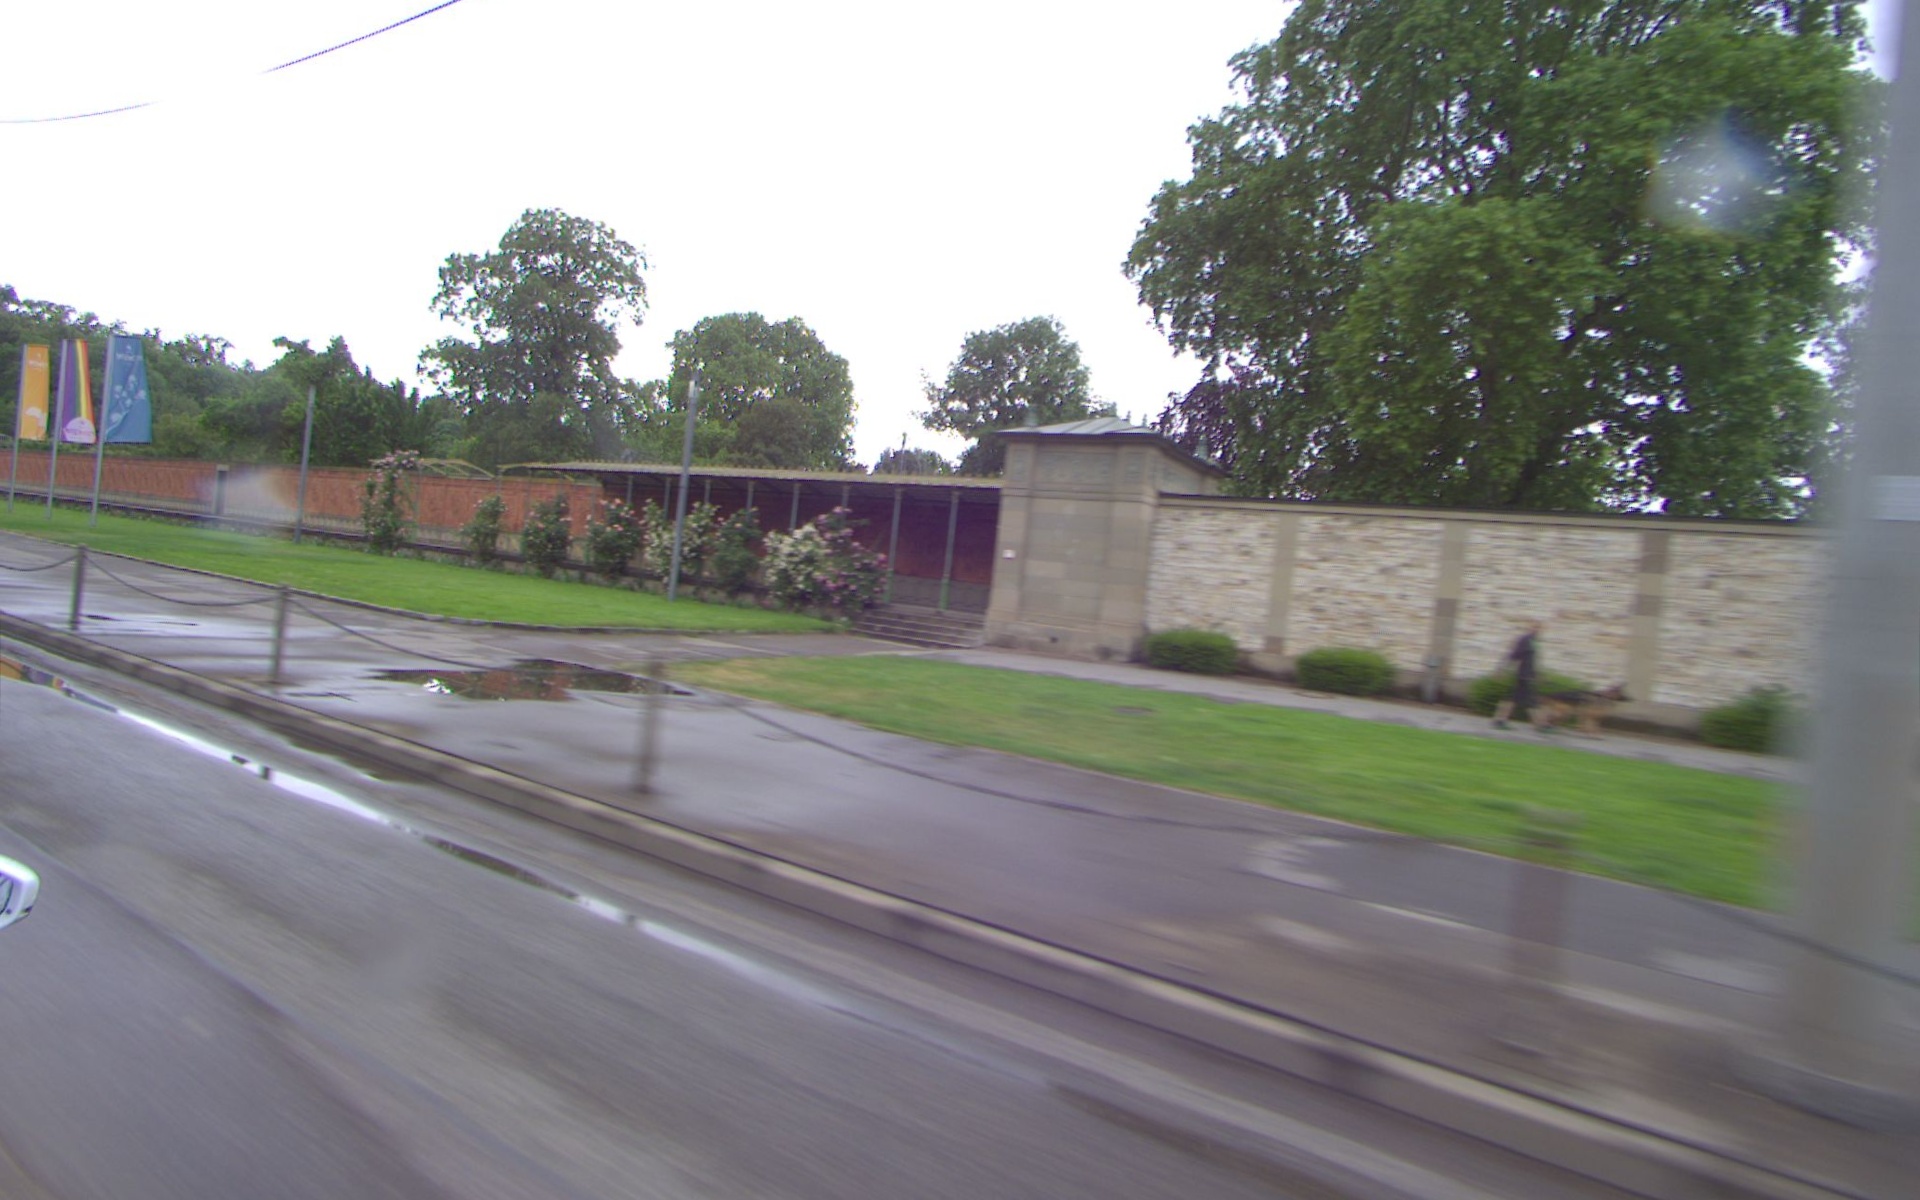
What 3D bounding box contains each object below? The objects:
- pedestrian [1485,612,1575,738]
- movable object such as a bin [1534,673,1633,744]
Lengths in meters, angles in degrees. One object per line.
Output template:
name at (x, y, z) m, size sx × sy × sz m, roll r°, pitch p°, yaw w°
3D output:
pedestrian at (8.494, 1.097, 14.987) m, size 0.965 × 1.733 × 0.728 m, roll 7°, pitch 1°, yaw 33°
movable object such as a bin at (9.343, 1.617, 15.094) m, size 1.172 × 0.883 × 0.342 m, roll 6°, pitch 1°, yaw 33°
